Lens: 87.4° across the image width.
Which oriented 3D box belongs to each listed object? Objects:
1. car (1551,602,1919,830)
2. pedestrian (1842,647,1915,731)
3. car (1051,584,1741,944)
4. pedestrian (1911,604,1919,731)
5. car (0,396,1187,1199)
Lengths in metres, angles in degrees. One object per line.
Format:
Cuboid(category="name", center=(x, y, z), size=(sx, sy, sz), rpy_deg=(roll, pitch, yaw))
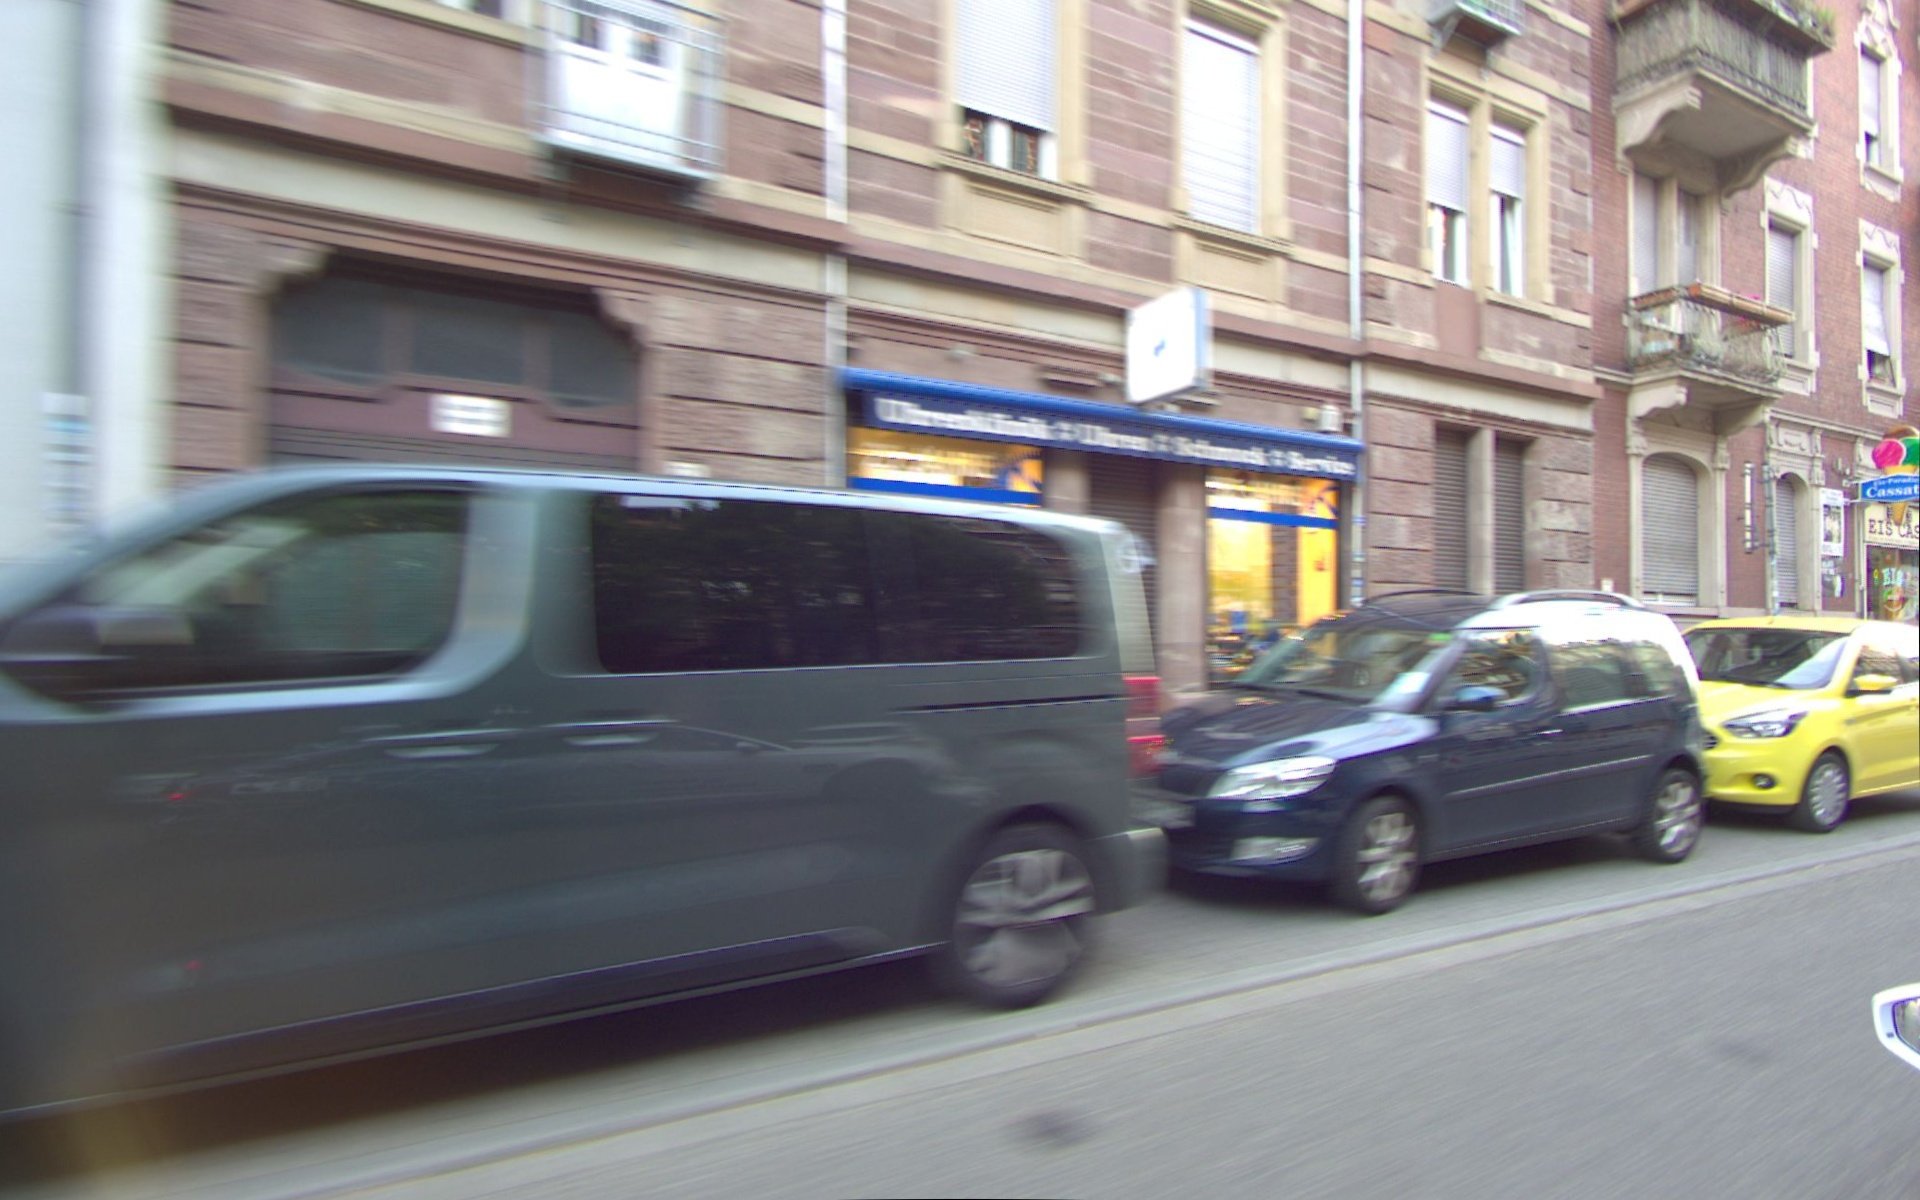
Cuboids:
Cuboid(category="car", center=(6.952, 0.837, 8.443), size=(3.743, 1.550, 1.699), rpy_deg=(1, -1, -27))
Cuboid(category="pedestrian", center=(13.313, 1.276, 14.561), size=(0.566, 1.155, 0.628), rpy_deg=(2, -1, -30))
Cuboid(category="car", center=(2.738, 0.789, 6.276), size=(3.918, 1.617, 1.921), rpy_deg=(1, -1, -27))
Cuboid(category="pedestrian", center=(13.498, 0.934, 13.633), size=(0.574, 1.753, 0.621), rpy_deg=(2, 0, 0))
Cuboid(category="car", center=(-1.673, 0.533, 3.621), size=(4.846, 1.907, 1.919), rpy_deg=(1, -1, -29))
